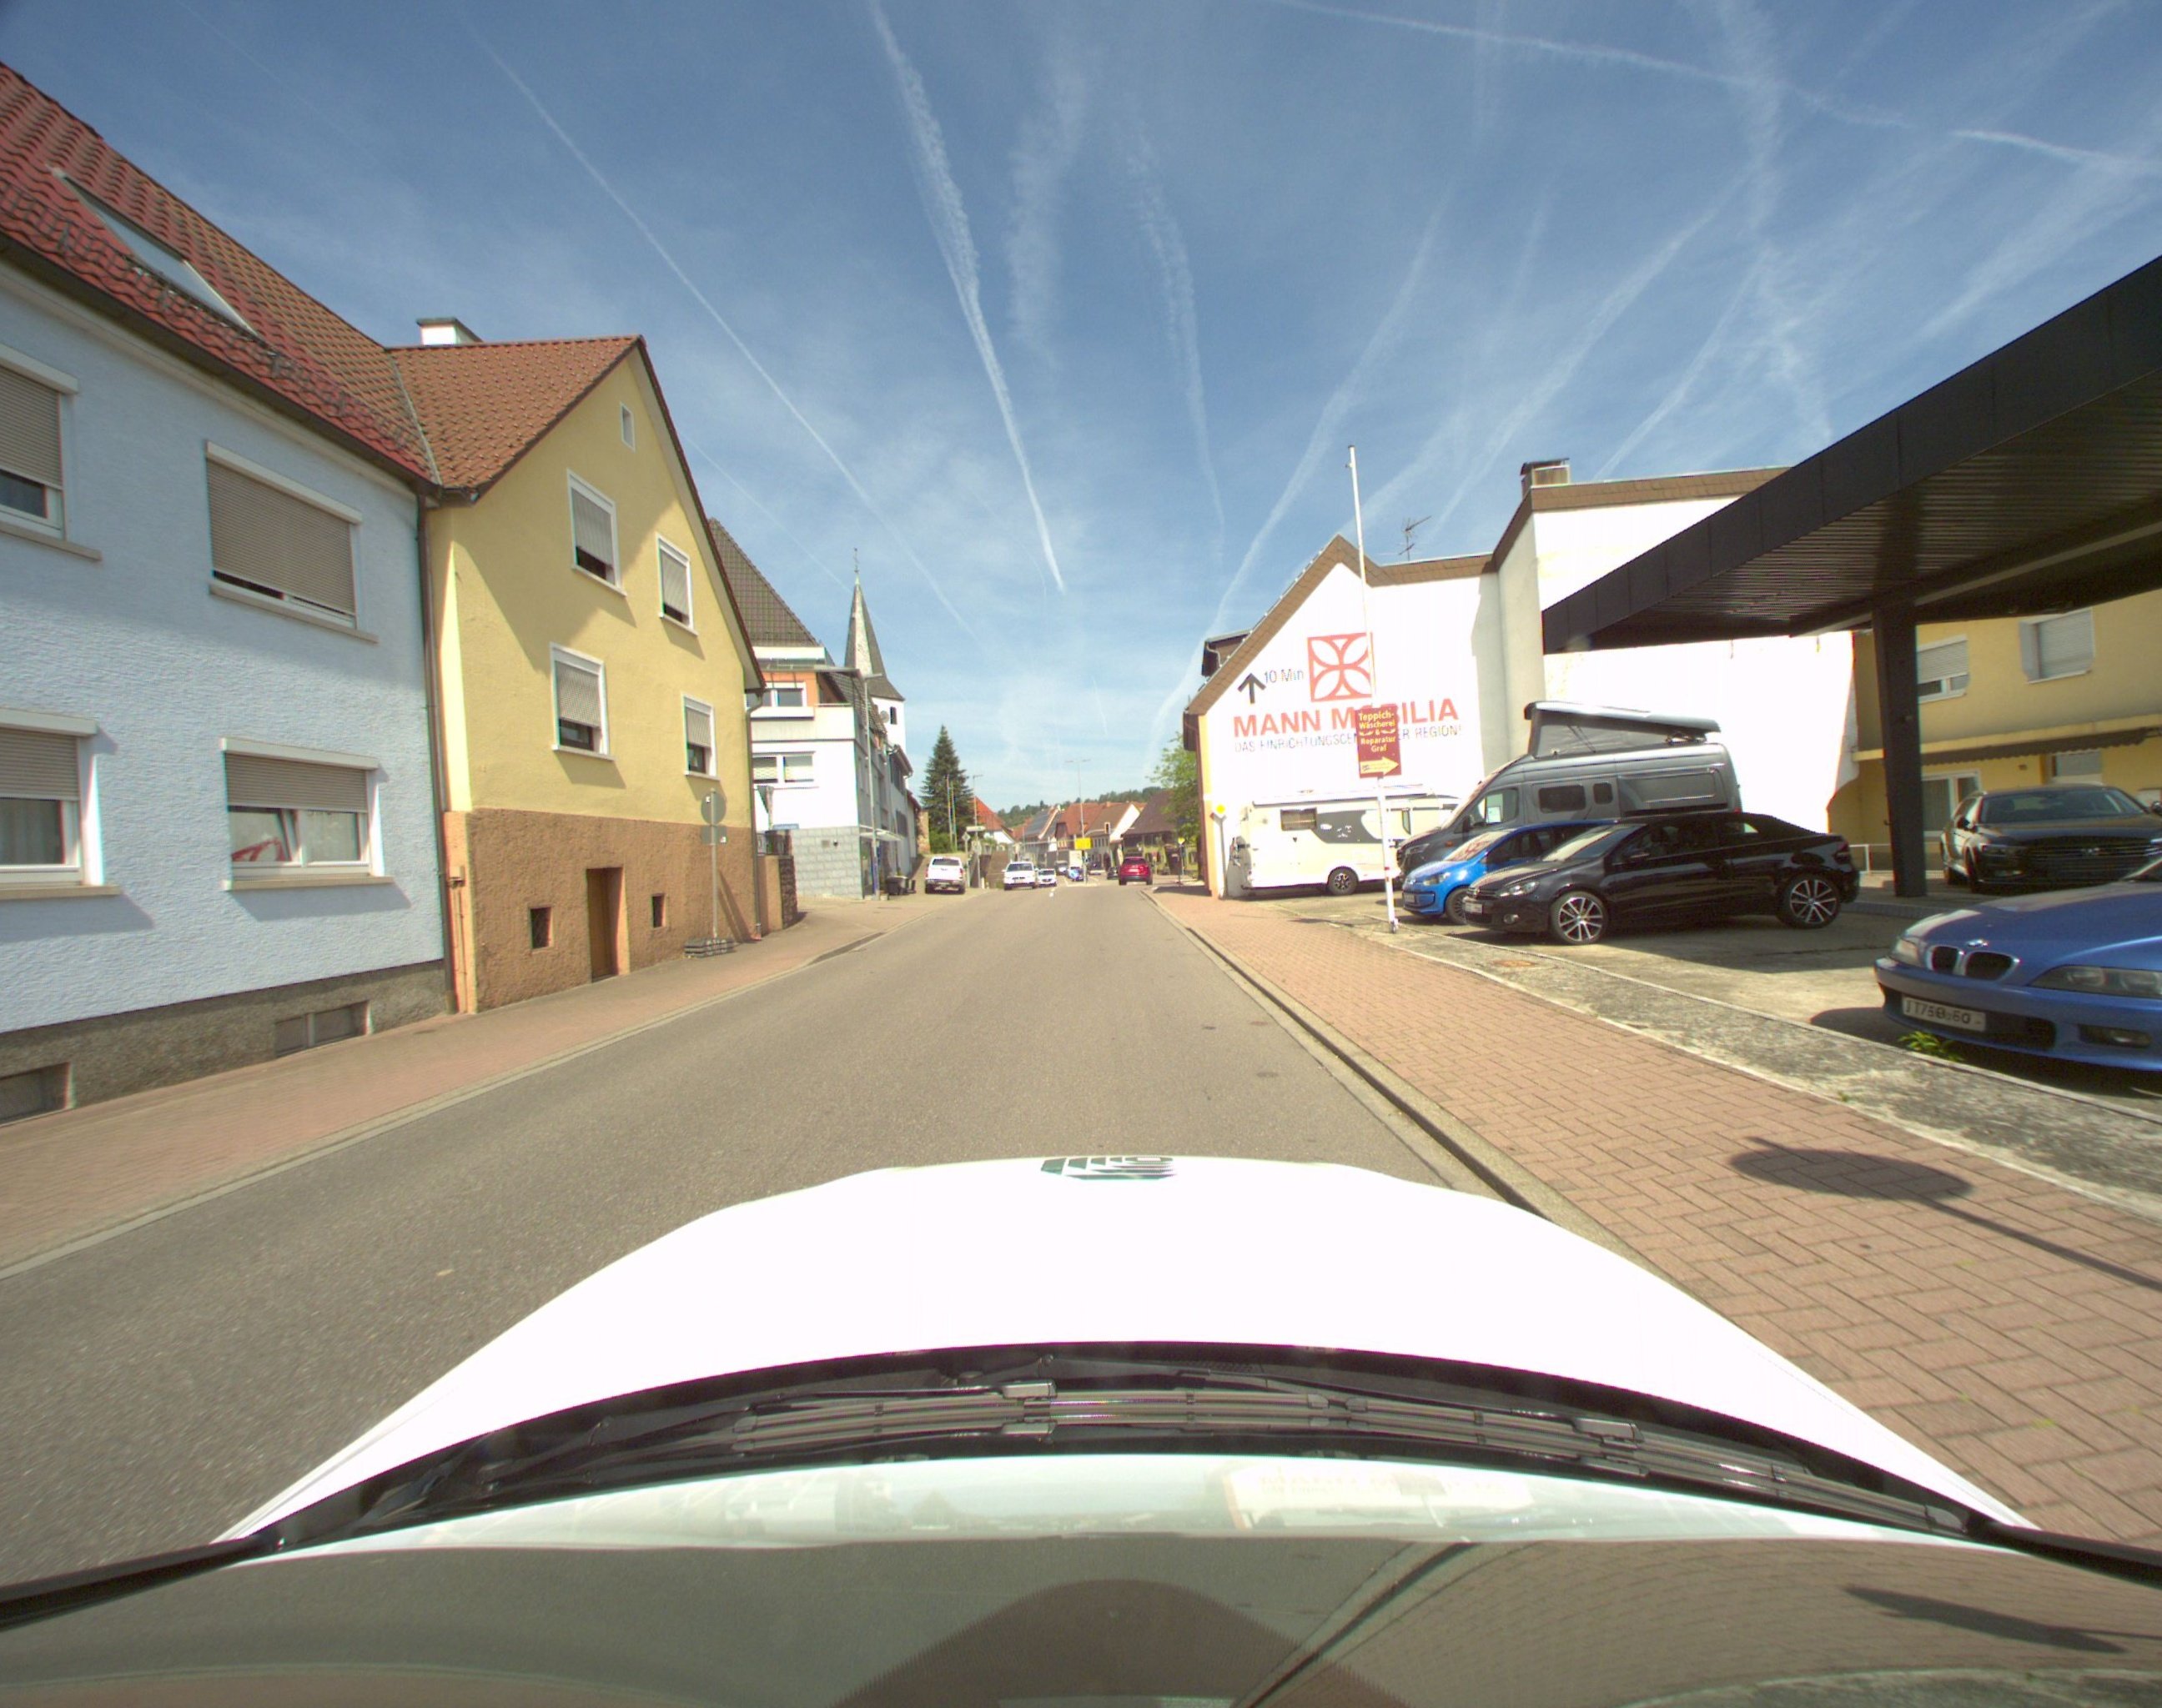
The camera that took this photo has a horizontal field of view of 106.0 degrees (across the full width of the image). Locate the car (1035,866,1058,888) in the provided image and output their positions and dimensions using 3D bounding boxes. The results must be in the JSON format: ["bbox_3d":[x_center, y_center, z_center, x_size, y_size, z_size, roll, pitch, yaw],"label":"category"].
[{"bbox_3d":[-3.452,2.305,82.804,1.962,1.933,5.313,-4,-1,0],"label":"car"}]

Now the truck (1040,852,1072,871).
[{"bbox_3d":[-4.773,1.494,152.703,3.167,3.460,10.649,0,-1,-17],"label":"truck"}]

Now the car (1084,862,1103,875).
[{"bbox_3d":[1.954,2.325,127.896,1.850,2.014,3.978,-1,-1,-16],"label":"car"}]

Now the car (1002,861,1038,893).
[{"bbox_3d":[-3.259,1.207,43.904,1.726,1.542,3.807,-4,0,-4],"label":"car"}]

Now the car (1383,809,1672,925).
[{"bbox_3d":[7.151,0.199,13.280,3.788,1.528,1.582,-4,0,-1],"label":"car"}]

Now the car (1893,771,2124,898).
[{"bbox_3d":[13.144,-0.285,11.790,1.705,1.525,3.895,-2,1,42],"label":"car"}]

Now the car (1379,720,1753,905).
[{"bbox_3d":[9.196,-0.679,16.221,5.909,2.986,2.330,-4,0,20],"label":"car"}]

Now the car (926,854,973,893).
[{"bbox_3d":[-6.444,0.919,40.400,1.801,1.798,5.278,0,0,-4],"label":"car"}]

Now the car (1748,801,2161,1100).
[{"bbox_3d":[6.746,0.310,4.403,4.517,1.267,1.968,-3,0,4],"label":"car"}]

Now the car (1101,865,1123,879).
[{"bbox_3d":[4.100,2.354,107.854,1.823,1.739,3.986,-4,0,-13],"label":"car"}]

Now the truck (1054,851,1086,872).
[{"bbox_3d":[-1.964,1.297,143.200,3.231,3.549,9.176,-1,-1,-17],"label":"truck"}]

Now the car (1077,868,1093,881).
[{"bbox_3d":[0.539,2.644,106.437,1.813,1.434,4.252,-3,0,3],"label":"car"}]

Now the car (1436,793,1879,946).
[{"bbox_3d":[6.891,0.189,10.122,4.141,1.481,1.730,-4,0,4],"label":"car"}]

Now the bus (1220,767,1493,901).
[{"bbox_3d":[7.281,-0.488,22.200,6.535,2.905,2.232,-5,-1,4],"label":"bus"}]

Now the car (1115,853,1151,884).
[{"bbox_3d":[3.120,0.826,48.322,1.794,1.663,3.821,-4,0,8],"label":"car"}]

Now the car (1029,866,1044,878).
[{"bbox_3d":[-8.169,3.277,150.337,1.761,2.246,4.528,-1,-1,-16],"label":"car"}]
